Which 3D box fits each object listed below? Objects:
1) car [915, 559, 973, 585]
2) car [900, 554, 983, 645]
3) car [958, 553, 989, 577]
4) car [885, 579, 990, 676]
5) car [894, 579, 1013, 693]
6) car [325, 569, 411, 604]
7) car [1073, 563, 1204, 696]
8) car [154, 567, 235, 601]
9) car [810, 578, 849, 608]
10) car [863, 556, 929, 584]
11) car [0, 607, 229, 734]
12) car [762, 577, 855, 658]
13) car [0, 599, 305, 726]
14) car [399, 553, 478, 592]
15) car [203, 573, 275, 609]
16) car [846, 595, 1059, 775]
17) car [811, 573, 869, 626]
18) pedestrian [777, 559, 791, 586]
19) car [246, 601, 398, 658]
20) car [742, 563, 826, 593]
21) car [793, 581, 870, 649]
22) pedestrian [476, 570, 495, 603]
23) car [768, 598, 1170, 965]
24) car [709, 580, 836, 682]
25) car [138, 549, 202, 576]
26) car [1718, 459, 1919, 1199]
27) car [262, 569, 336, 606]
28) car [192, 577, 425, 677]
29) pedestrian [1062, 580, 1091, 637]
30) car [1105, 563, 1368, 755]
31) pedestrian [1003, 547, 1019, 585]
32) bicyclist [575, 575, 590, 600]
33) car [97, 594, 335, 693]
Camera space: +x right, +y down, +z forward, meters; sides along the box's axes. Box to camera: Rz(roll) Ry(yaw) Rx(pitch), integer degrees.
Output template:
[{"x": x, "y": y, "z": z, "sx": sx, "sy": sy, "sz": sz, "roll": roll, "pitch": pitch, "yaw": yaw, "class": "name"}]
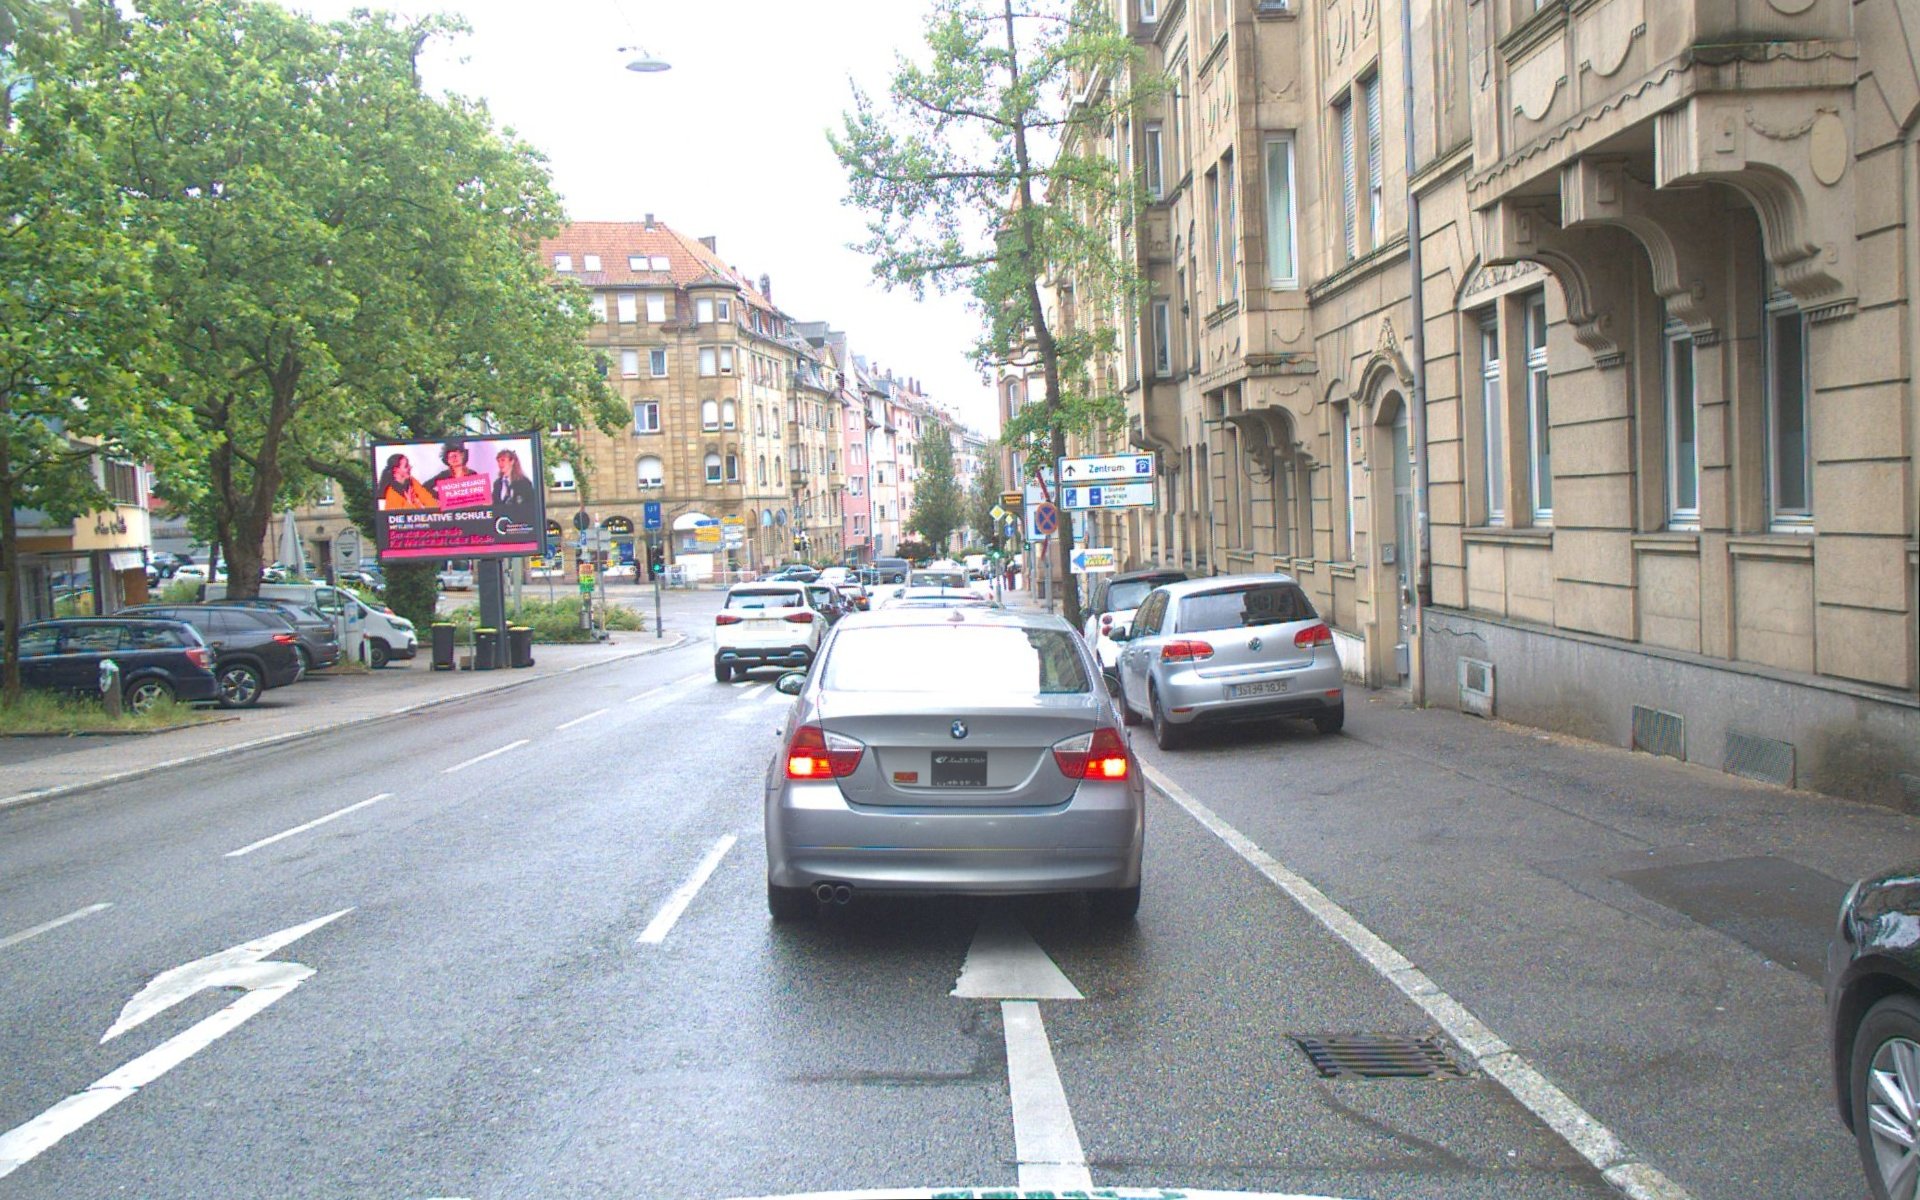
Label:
[{"x": -0.999, "y": -1.808, "z": 106.866, "sx": 1.957, "sy": 1.606, "sz": 3.991, "roll": 1, "pitch": 0, "yaw": 31, "class": "car"}, {"x": -0.469, "y": -0.026, "z": 40.954, "sx": 1.953, "sy": 2.143, "sz": 3.999, "roll": 0, "pitch": 0, "yaw": -1, "class": "car"}, {"x": 1.010, "y": -2.556, "z": 120.138, "sx": 1.951, "sy": 1.606, "sz": 4.002, "roll": 1, "pitch": 0, "yaw": 5, "class": "car"}, {"x": -0.463, "y": 0.438, "z": 29.543, "sx": 1.724, "sy": 1.594, "sz": 3.998, "roll": -1, "pitch": 1, "yaw": -3, "class": "car"}, {"x": -0.076, "y": 0.454, "z": 23.912, "sx": 1.562, "sy": 1.490, "sz": 4.000, "roll": 1, "pitch": 1, "yaw": 0, "class": "car"}, {"x": -30.824, "y": -0.712, "z": 86.060, "sx": 4.157, "sy": 1.756, "sz": 1.997, "roll": 1, "pitch": 2, "yaw": 30, "class": "car"}, {"x": 2.389, "y": 0.368, "z": 22.635, "sx": 1.273, "sy": 1.569, "sz": 2.975, "roll": -6, "pitch": 1, "yaw": -1, "class": "car"}, {"x": -42.862, "y": -0.894, "z": 92.643, "sx": 4.155, "sy": 1.756, "sz": 1.998, "roll": 0, "pitch": 3, "yaw": 29, "class": "car"}, {"x": -6.596, "y": -0.366, "z": 83.810, "sx": 1.680, "sy": 1.476, "sz": 3.741, "roll": -2, "pitch": 0, "yaw": -1, "class": "car"}, {"x": -5.014, "y": -2.363, "z": 129.663, "sx": 5.072, "sy": 2.049, "sz": 2.698, "roll": 1, "pitch": 0, "yaw": -1, "class": "car"}, {"x": -12.979, "y": 1.014, "z": 23.929, "sx": 4.299, "sy": 1.601, "sz": 1.929, "roll": -3, "pitch": 1, "yaw": -24, "class": "car"}, {"x": -3.404, "y": 0.347, "z": 37.787, "sx": 1.723, "sy": 1.737, "sz": 4.000, "roll": -1, "pitch": 1, "yaw": 0, "class": "car"}, {"x": -12.899, "y": 0.948, "z": 26.604, "sx": 4.308, "sy": 1.701, "sz": 1.842, "roll": -3, "pitch": 1, "yaw": -24, "class": "car"}, {"x": -30.357, "y": -1.609, "z": 96.261, "sx": 4.196, "sy": 2.138, "sz": 1.998, "roll": 2, "pitch": 2, "yaw": 28, "class": "car"}, {"x": -45.442, "y": -0.602, "z": 104.198, "sx": 4.196, "sy": 2.138, "sz": 1.998, "roll": 2, "pitch": 2, "yaw": 28, "class": "car"}, {"x": -0.048, "y": 0.688, "z": 15.496, "sx": 1.723, "sy": 1.407, "sz": 4.000, "roll": -1, "pitch": 1, "yaw": 0, "class": "car"}, {"x": -4.076, "y": -0.046, "z": 56.816, "sx": 1.724, "sy": 1.737, "sz": 4.000, "roll": -1, "pitch": 1, "yaw": -1, "class": "car"}, {"x": -10.718, "y": -1.657, "z": 100.912, "sx": 0.716, "sy": 1.605, "sz": 0.528, "roll": -1, "pitch": 0, "yaw": 8, "class": "pedestrian"}, {"x": -17.981, "y": 0.812, "z": 46.716, "sx": 3.916, "sy": 1.476, "sz": 1.757, "roll": -2, "pitch": 0, "yaw": -22, "class": "car"}, {"x": -10.276, "y": -1.257, "z": 96.770, "sx": 4.617, "sy": 1.606, "sz": 1.968, "roll": 1, "pitch": 0, "yaw": -44, "class": "car"}, {"x": -3.433, "y": 0.376, "z": 44.759, "sx": 1.723, "sy": 1.737, "sz": 4.000, "roll": -1, "pitch": 1, "yaw": 0, "class": "car"}, {"x": -23.279, "y": -0.656, "z": 81.099, "sx": 0.525, "sy": 1.605, "sz": 0.720, "roll": -2, "pitch": 0, "yaw": 15, "class": "pedestrian"}, {"x": 0.047, "y": 0.724, "z": 8.414, "sx": 1.590, "sy": 1.407, "sz": 3.615, "roll": -1, "pitch": 1, "yaw": 0, "class": "car"}, {"x": -3.225, "y": 0.494, "z": 29.126, "sx": 1.830, "sy": 1.654, "sz": 3.999, "roll": -1, "pitch": 0, "yaw": -1, "class": "car"}, {"x": -51.123, "y": -2.422, "z": 107.022, "sx": 3.909, "sy": 1.718, "sz": 1.726, "roll": 1, "pitch": 0, "yaw": 27, "class": "car"}, {"x": 2.757, "y": 0.488, "z": 1.922, "sx": 1.724, "sy": 1.679, "sz": 4.098, "roll": -6, "pitch": 1, "yaw": 0, "class": "car"}, {"x": -40.591, "y": -0.793, "z": 101.563, "sx": 4.196, "sy": 2.138, "sz": 1.998, "roll": 2, "pitch": 2, "yaw": 28, "class": "car"}, {"x": -15.400, "y": 0.606, "z": 39.300, "sx": 4.989, "sy": 2.142, "sz": 1.979, "roll": -2, "pitch": 0, "yaw": -22, "class": "car"}, {"x": 3.284, "y": 0.228, "z": 46.624, "sx": 0.618, "sy": 1.534, "sz": 0.693, "roll": -6, "pitch": 0, "yaw": -2, "class": "pedestrian"}, {"x": 2.566, "y": 0.488, "z": 16.304, "sx": 1.725, "sy": 1.476, "sz": 3.999, "roll": -6, "pitch": 1, "yaw": -1, "class": "car"}, {"x": 2.622, "y": -1.731, "z": 85.103, "sx": 0.727, "sy": 1.943, "sz": 0.659, "roll": -2, "pitch": 0, "yaw": -2, "class": "pedestrian"}, {"x": -20.055, "y": -0.648, "z": 87.873, "sx": 0.556, "sy": 1.295, "sz": 0.690, "roll": 1, "pitch": -1, "yaw": 11, "class": "bicyclist"}, {"x": -15.125, "y": 0.853, "z": 33.901, "sx": 4.295, "sy": 1.815, "sz": 1.927, "roll": -2, "pitch": 0, "yaw": -22, "class": "car"}]
